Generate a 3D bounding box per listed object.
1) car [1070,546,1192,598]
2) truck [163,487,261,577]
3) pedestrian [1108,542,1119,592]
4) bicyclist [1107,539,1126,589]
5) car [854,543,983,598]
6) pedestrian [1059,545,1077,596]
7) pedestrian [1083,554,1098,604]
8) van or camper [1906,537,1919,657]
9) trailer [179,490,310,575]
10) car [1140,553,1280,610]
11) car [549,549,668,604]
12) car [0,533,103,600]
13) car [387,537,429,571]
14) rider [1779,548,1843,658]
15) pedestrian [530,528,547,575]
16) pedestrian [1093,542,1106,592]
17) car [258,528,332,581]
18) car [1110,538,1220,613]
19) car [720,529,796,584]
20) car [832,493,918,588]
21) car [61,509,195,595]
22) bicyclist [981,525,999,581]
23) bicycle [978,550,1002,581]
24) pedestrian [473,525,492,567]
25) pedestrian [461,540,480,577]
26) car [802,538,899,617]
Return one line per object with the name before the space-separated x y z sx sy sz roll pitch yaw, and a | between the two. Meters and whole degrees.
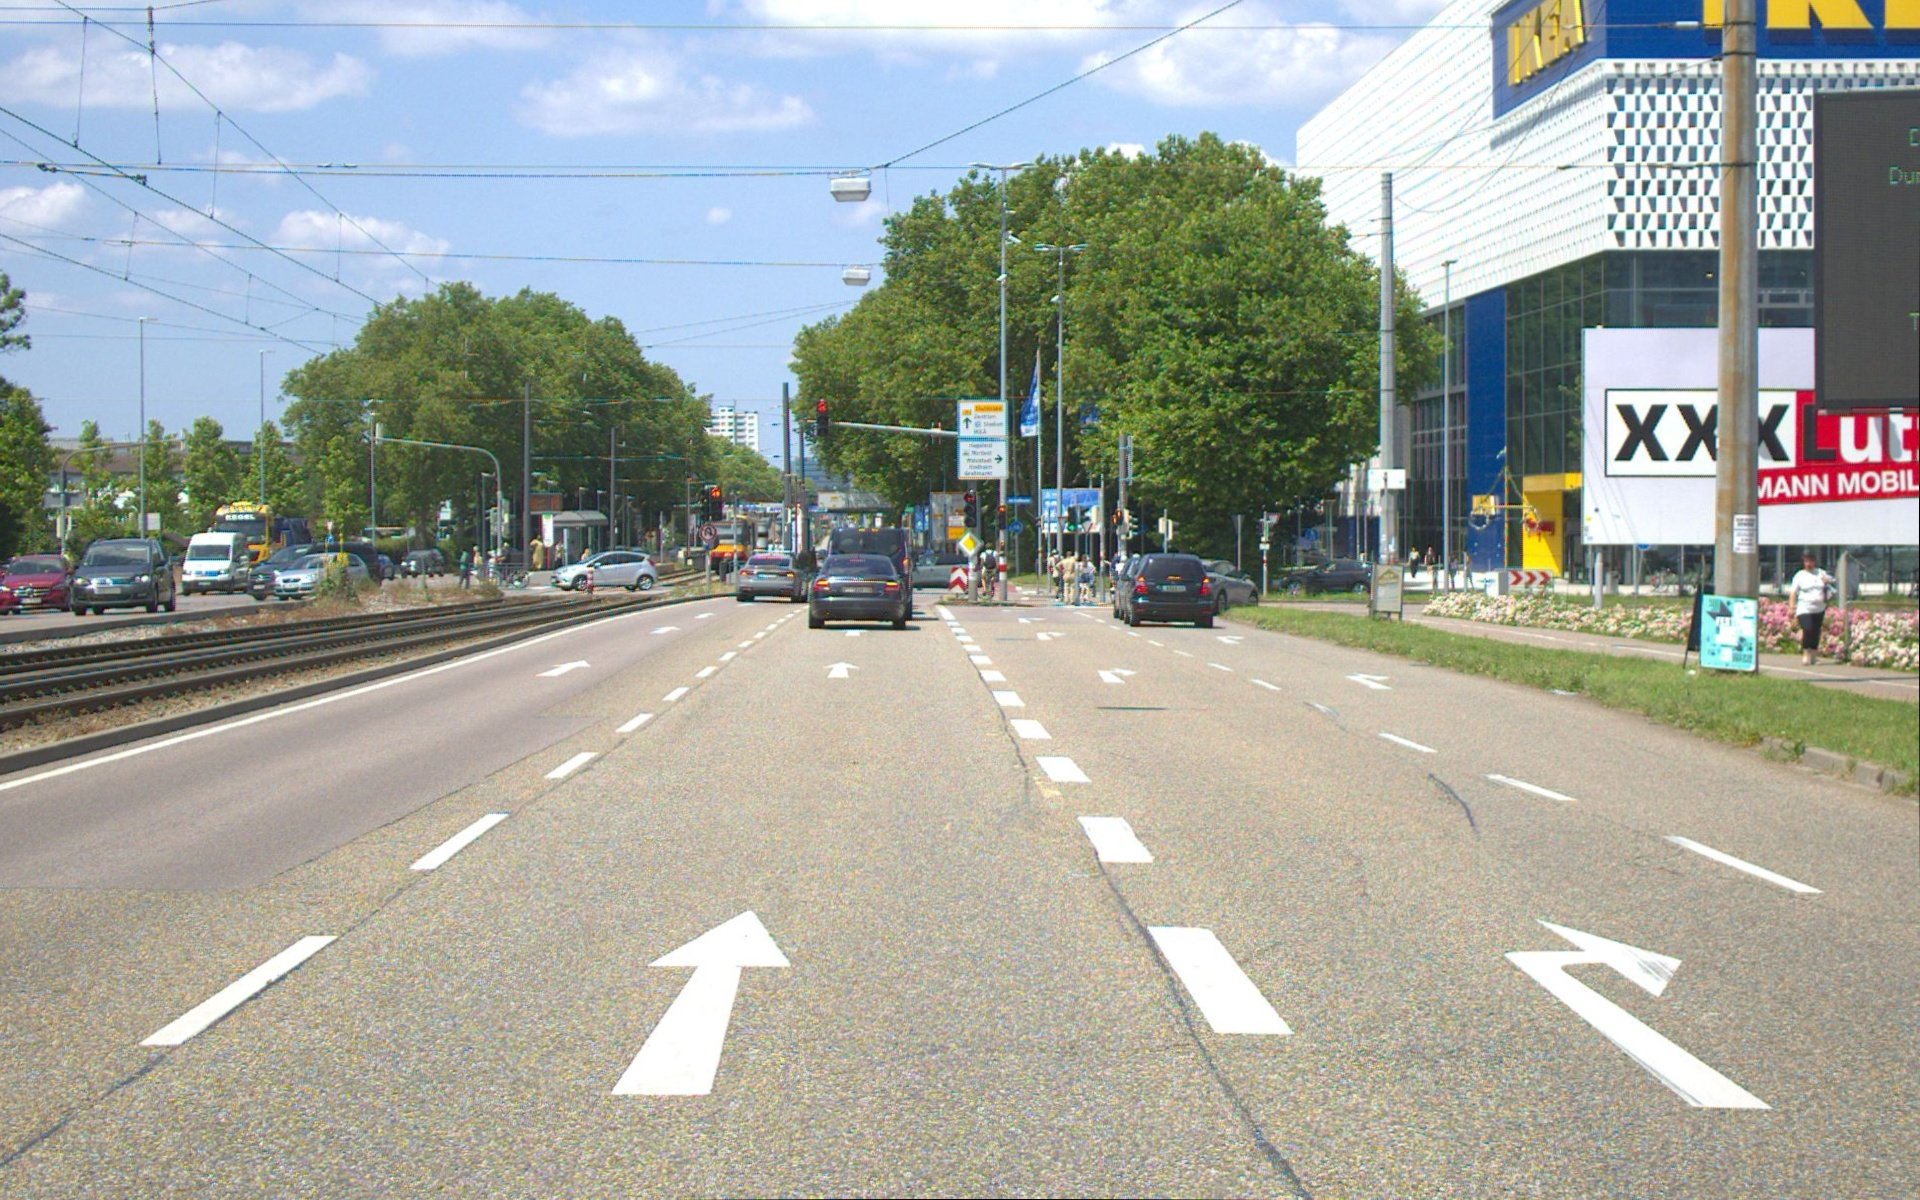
car | 5.318 -0.847 106.323 1.997 1.481 4.383 3 1 29
truck | -30.980 -2.801 142.554 2.767 3.557 6.440 1 1 -2
pedestrian | 5.068 -1.094 113.660 0.339 1.629 0.377 1 1 2
bicyclist | 5.625 -1.291 123.539 0.529 1.758 0.827 1 0 12
car | -1.580 -1.120 130.113 4.395 1.911 2.001 2 1 -21
pedestrian | 3.492 -0.964 111.521 0.554 1.629 0.433 1 1 2
pedestrian | 4.226 -0.686 111.577 0.445 1.629 0.430 1 1 2
van or camper | 25.348 -0.019 84.323 2.507 3.010 7.223 1 1 2
trailer | -31.203 -2.923 150.636 2.767 3.506 15.880 1 1 -2
car | 7.051 -0.517 96.660 1.998 1.481 4.136 3 1 36
car | -12.983 -0.865 126.972 3.986 1.842 2.001 -2 2 -17
car | -24.187 -0.906 91.081 1.993 1.664 4.469 -1 1 -3
car | -31.427 -2.646 195.947 1.817 1.876 4.000 1 1 -2
rider | 11.477 0.035 46.378 0.669 1.452 0.618 1 1 -2
pedestrian | -18.303 -2.106 149.361 0.685 2.007 0.573 1 0 -5
pedestrian | 4.623 -1.086 113.703 0.381 1.629 0.377 1 1 2
car | -21.014 -1.445 108.686 1.685 1.578 4.059 -2 1 -3
car | 4.388 -0.552 74.023 1.993 1.481 4.000 2 1 -1
car | -5.791 -1.277 99.056 1.993 1.481 4.000 2 1 -1
car | -1.881 -1.339 75.973 1.836 1.943 4.001 1 3 -2
car | -18.813 -1.112 77.940 1.993 1.824 4.970 -2 1 -3
bicyclist | 0.984 -1.528 111.658 0.528 1.783 1.088 1 0 -1
bicycle | 0.971 -1.130 111.889 0.687 0.990 2.752 1 1 -1
pedestrian | -18.642 -2.106 134.341 0.685 1.631 0.573 1 0 -5
pedestrian | -19.248 -1.631 135.154 0.685 1.438 0.573 1 0 -5
car | -2.086 -0.452 65.921 1.792 1.450 4.000 0 1 -1
